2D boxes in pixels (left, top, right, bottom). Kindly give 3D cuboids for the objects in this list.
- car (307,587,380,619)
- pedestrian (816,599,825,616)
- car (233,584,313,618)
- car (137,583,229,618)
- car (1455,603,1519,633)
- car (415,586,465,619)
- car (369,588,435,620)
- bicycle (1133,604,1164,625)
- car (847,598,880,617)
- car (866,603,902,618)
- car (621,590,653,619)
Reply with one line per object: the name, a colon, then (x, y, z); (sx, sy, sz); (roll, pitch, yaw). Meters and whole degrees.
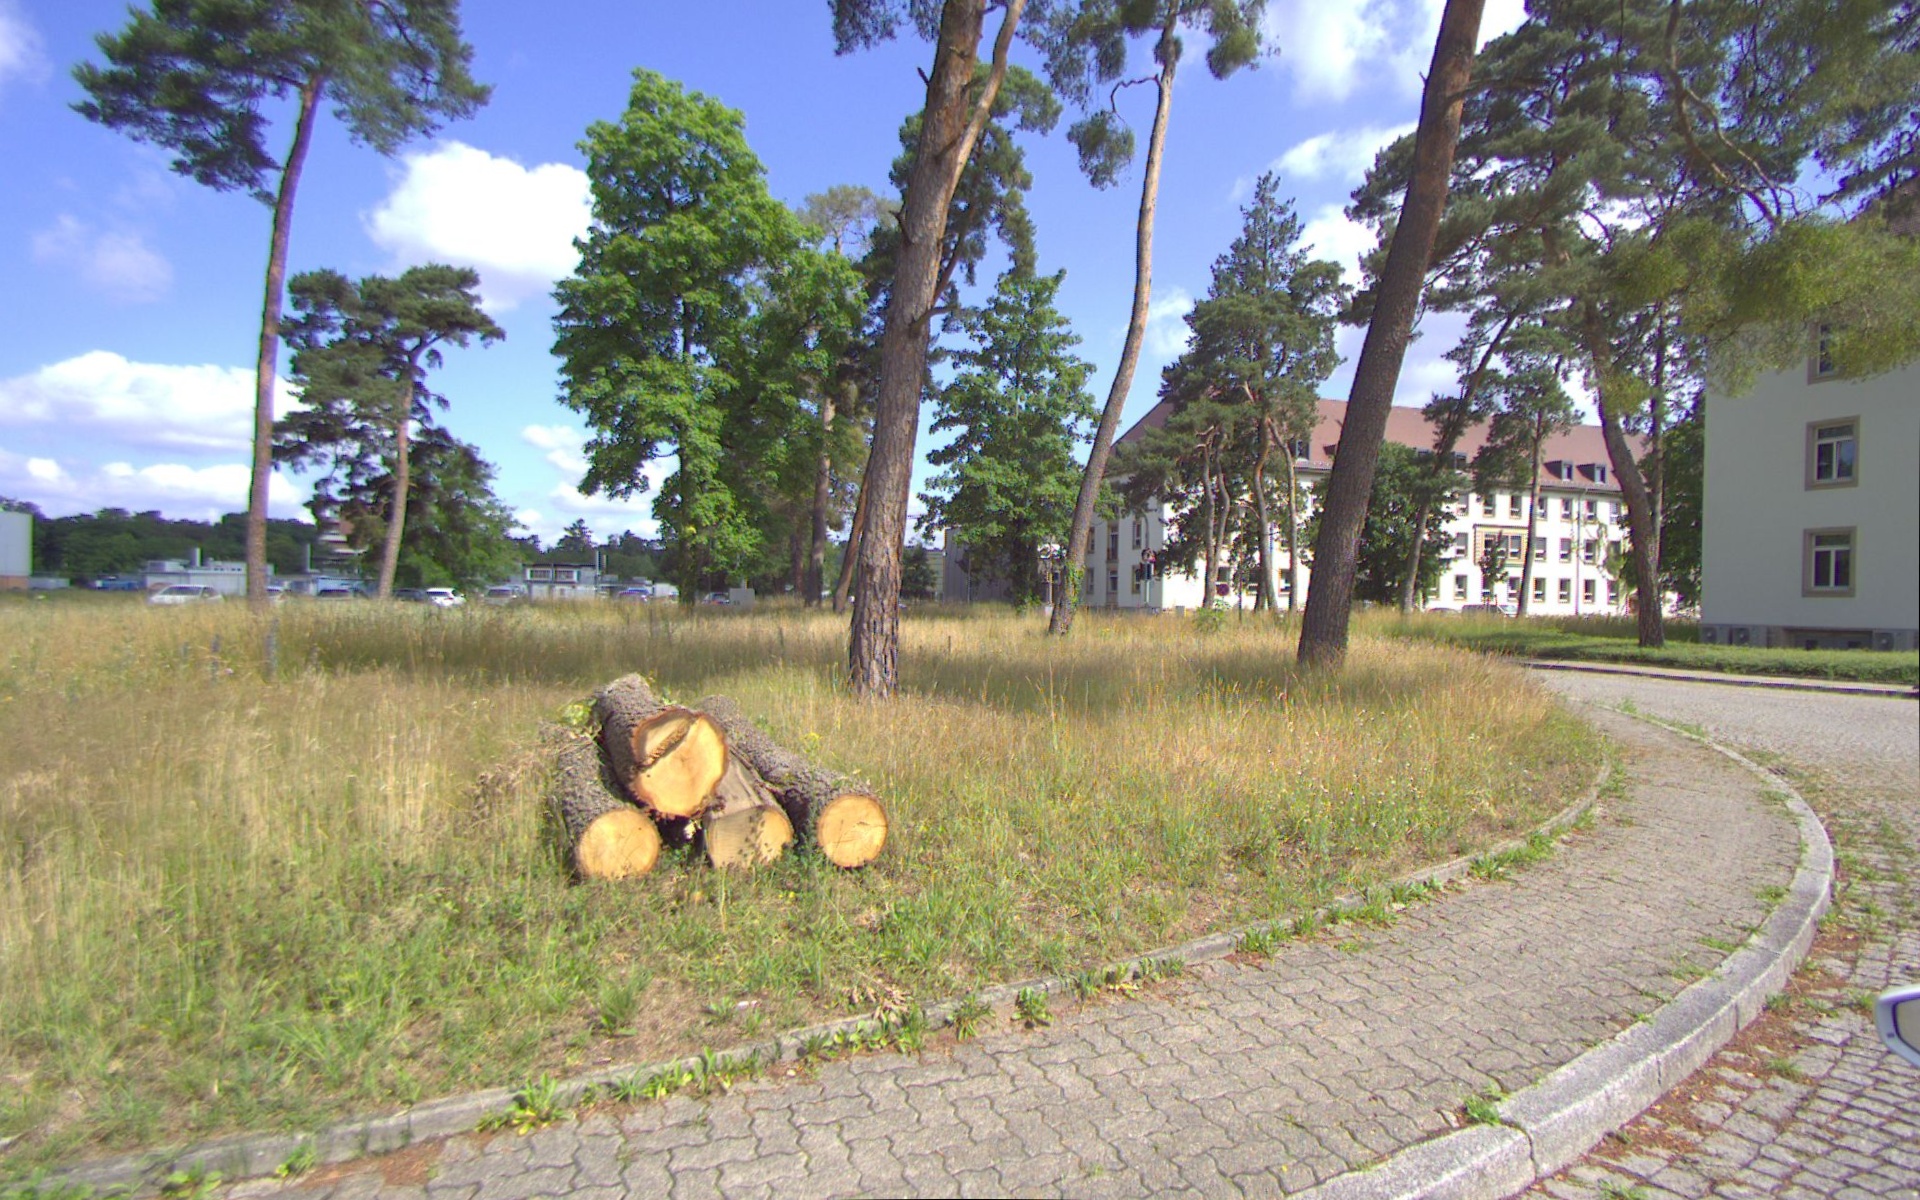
car: (-26.957, 0.141, 44.037); (1.871, 1.337, 4.061); (1, -1, -20)
pedestrian: (-16.545, 0.865, 118.926); (0.951, 2.040, 1.052); (1, 0, -11)
car: (-29.749, 0.049, 43.642); (1.871, 1.356, 4.061); (1, -1, -20)
car: (-32.487, 0.018, 42.130); (1.871, 1.367, 4.053); (1, -1, -20)
car: (37.446, 1.256, 71.475); (1.686, 2.018, 4.057); (1, 0, -18)
car: (-28.449, 0.156, 55.060); (1.871, 1.725, 4.061); (1, -1, -20)
car: (-24.596, 0.196, 44.376); (1.871, 1.327, 4.061); (1, -1, -20)
bicycle: (10.284, 0.800, 54.763); (1.557, 1.115, 0.491); (1, 0, -8)
car: (-11.053, 0.904, 115.034); (3.625, 2.116, 1.727); (1, 0, -10)
car: (-8.041, 1.160, 106.451); (3.625, 1.523, 1.727); (1, 0, -10)
car: (-21.051, 0.303, 65.350); (1.871, 1.804, 4.061); (1, -1, -20)
